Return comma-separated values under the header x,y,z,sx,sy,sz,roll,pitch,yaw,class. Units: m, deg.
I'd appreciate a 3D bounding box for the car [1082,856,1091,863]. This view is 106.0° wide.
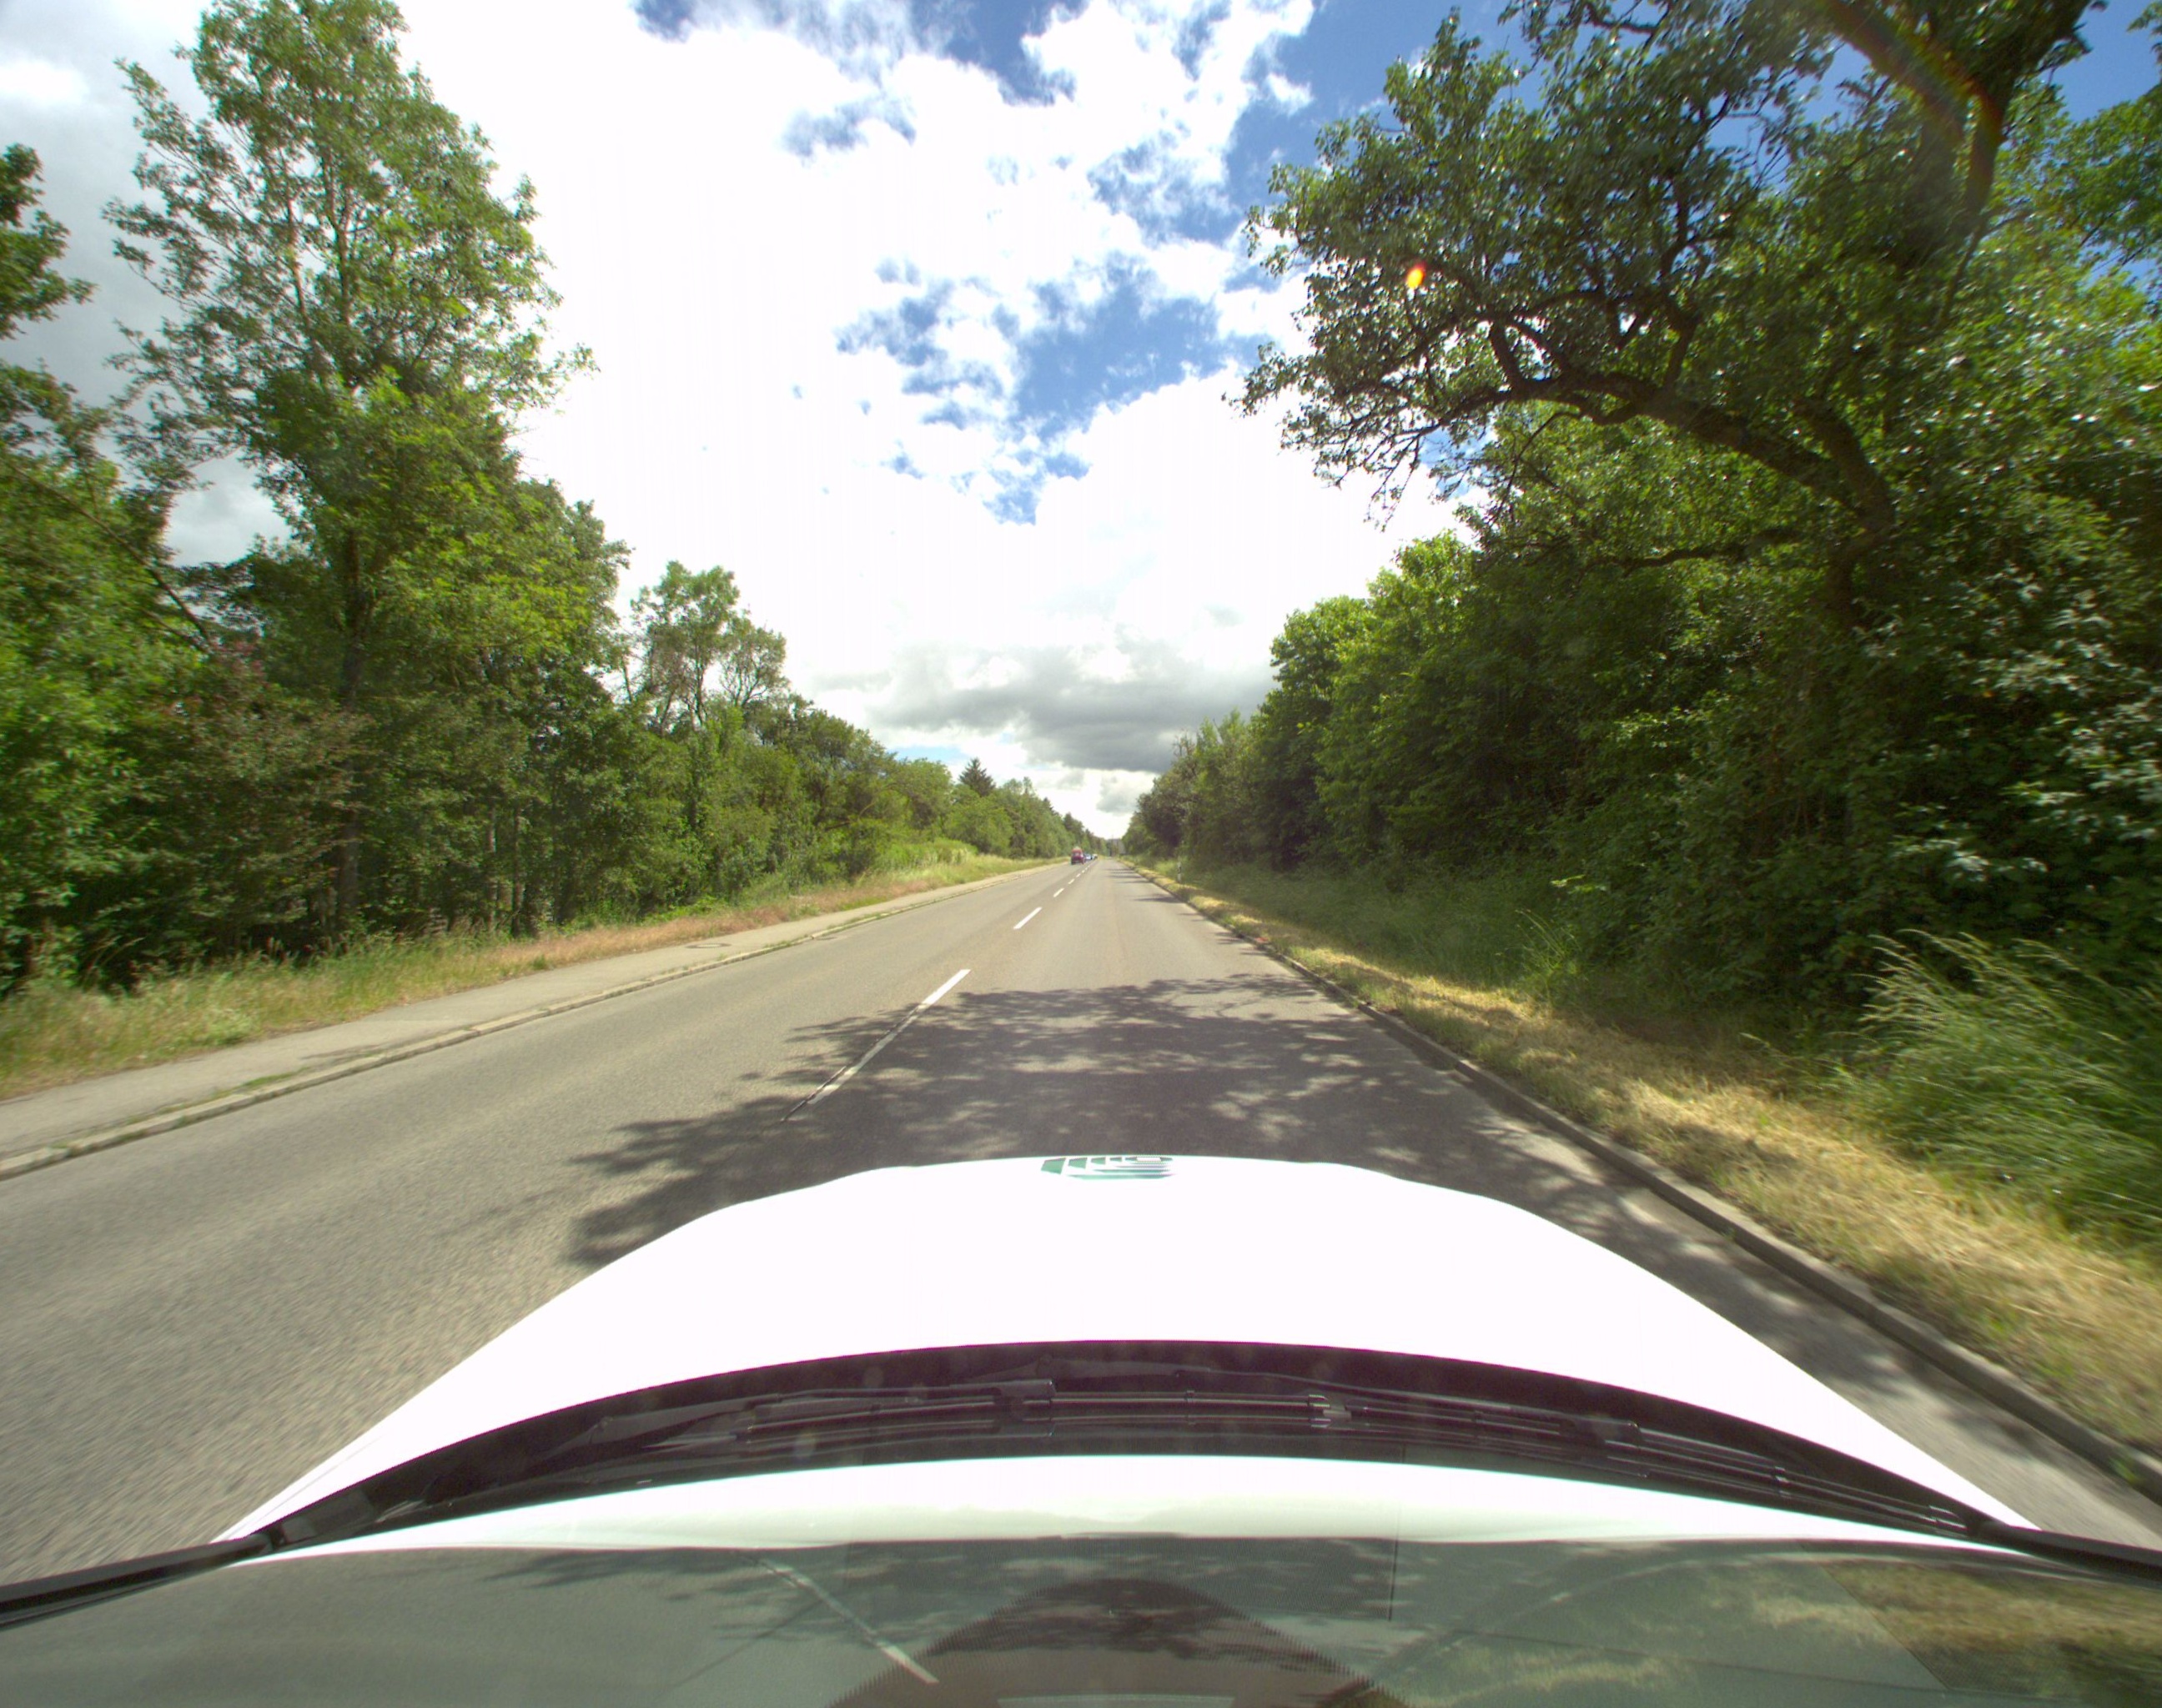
x,y,z,sx,sy,sz,roll,pitch,yaw,class
1.112,1.166,170.454,1.778,1.446,4.452,-4,0,1,car

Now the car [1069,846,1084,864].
x,y,z,sx,sy,sz,roll,pitch,yaw,class
-0.609,0.157,120.223,1.962,2.550,4.726,-4,0,1,car
